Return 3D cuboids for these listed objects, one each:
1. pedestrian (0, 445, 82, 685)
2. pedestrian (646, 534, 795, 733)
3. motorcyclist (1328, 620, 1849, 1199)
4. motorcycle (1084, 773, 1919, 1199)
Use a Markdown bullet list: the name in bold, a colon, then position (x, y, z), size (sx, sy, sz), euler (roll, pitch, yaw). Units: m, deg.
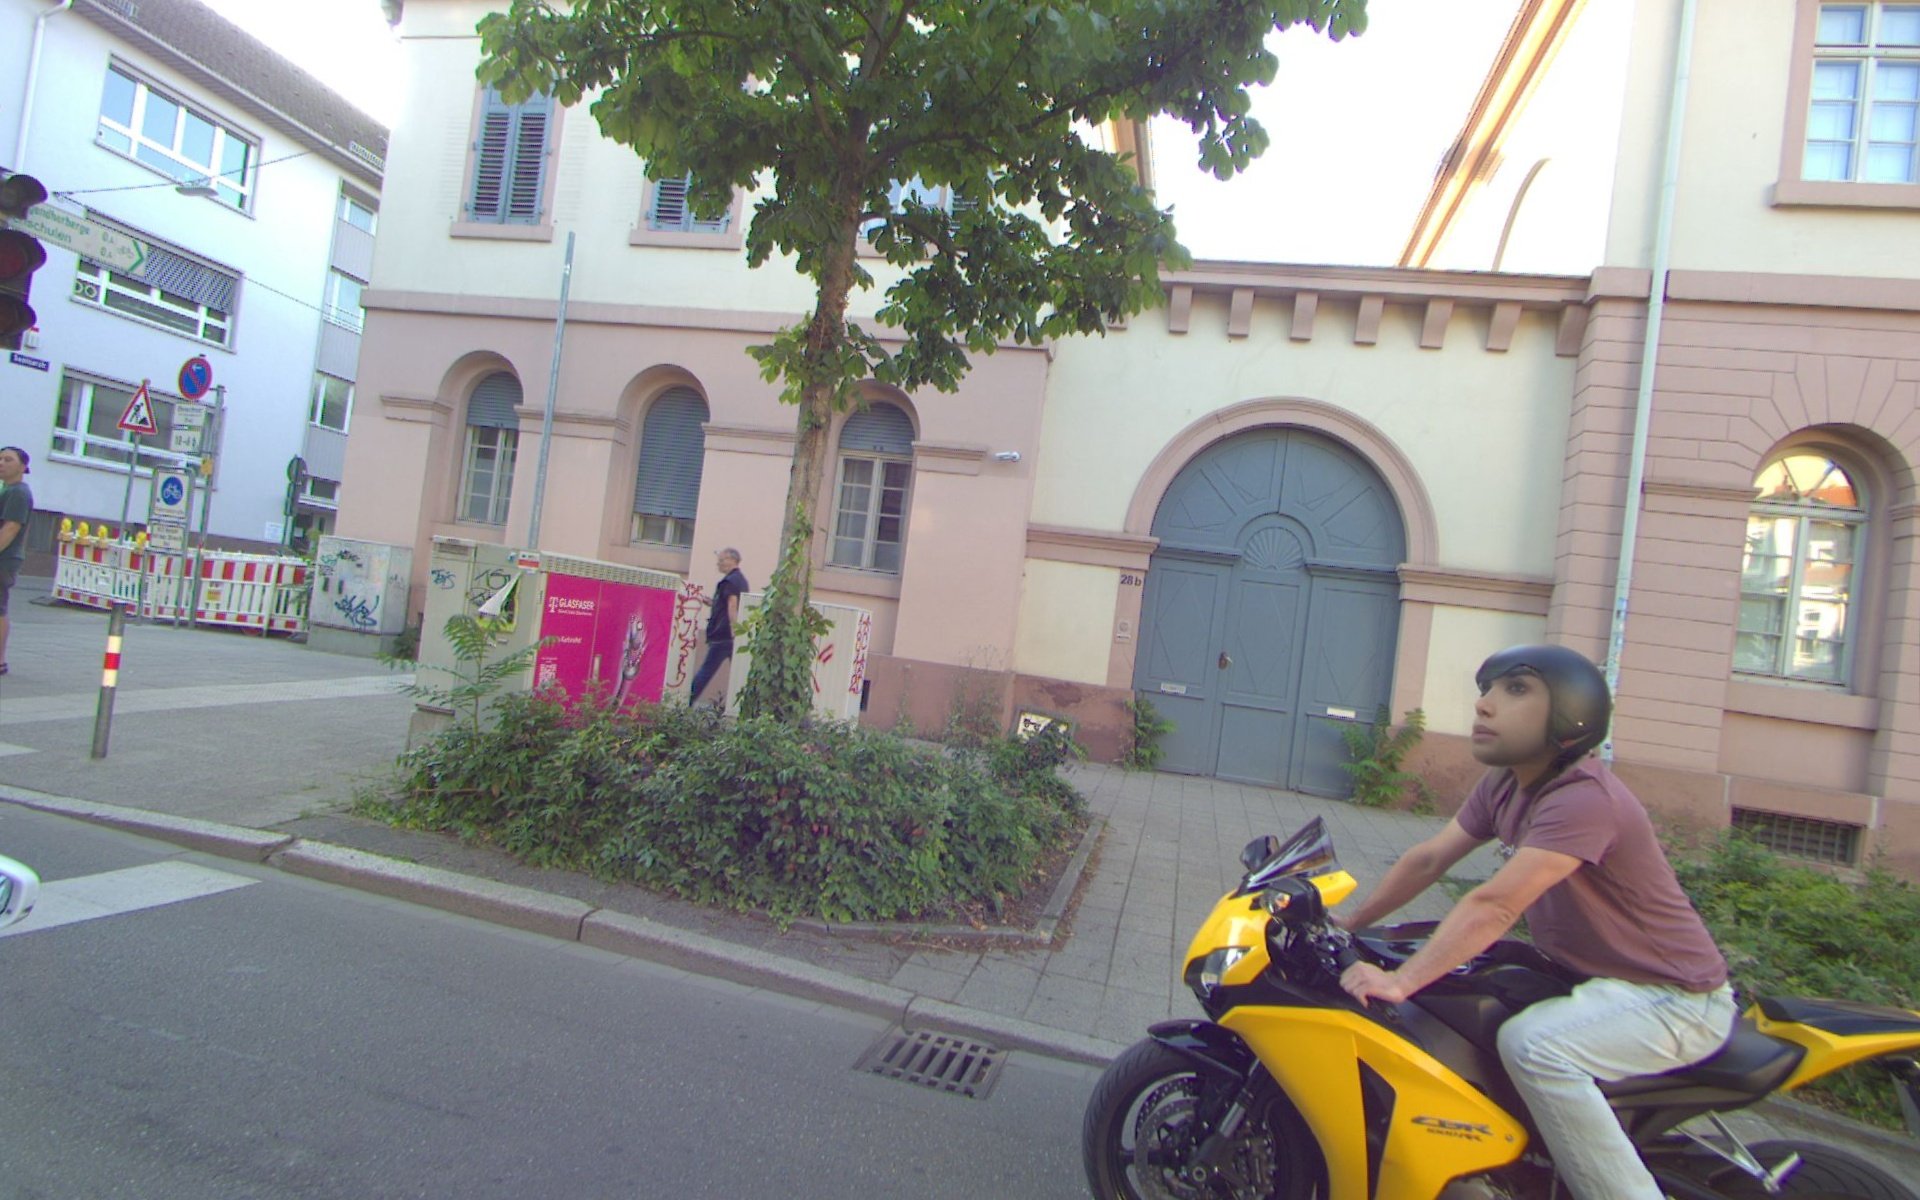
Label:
- **pedestrian**: position (-7.759, -0.321, 8.071), size (0.885, 1.837, 0.784), euler (8, 1, -42)
- **pedestrian**: position (-2.464, 0.334, 10.415), size (1.062, 1.862, 0.801), euler (7, 2, 12)
- **motorcyclist**: position (1.403, 0.829, 2.424), size (0.685, 1.436, 0.795), euler (7, -2, 10)
- **motorcycle**: position (1.325, 1.186, 2.422), size (1.929, 1.173, 0.795), euler (7, -2, 10)
